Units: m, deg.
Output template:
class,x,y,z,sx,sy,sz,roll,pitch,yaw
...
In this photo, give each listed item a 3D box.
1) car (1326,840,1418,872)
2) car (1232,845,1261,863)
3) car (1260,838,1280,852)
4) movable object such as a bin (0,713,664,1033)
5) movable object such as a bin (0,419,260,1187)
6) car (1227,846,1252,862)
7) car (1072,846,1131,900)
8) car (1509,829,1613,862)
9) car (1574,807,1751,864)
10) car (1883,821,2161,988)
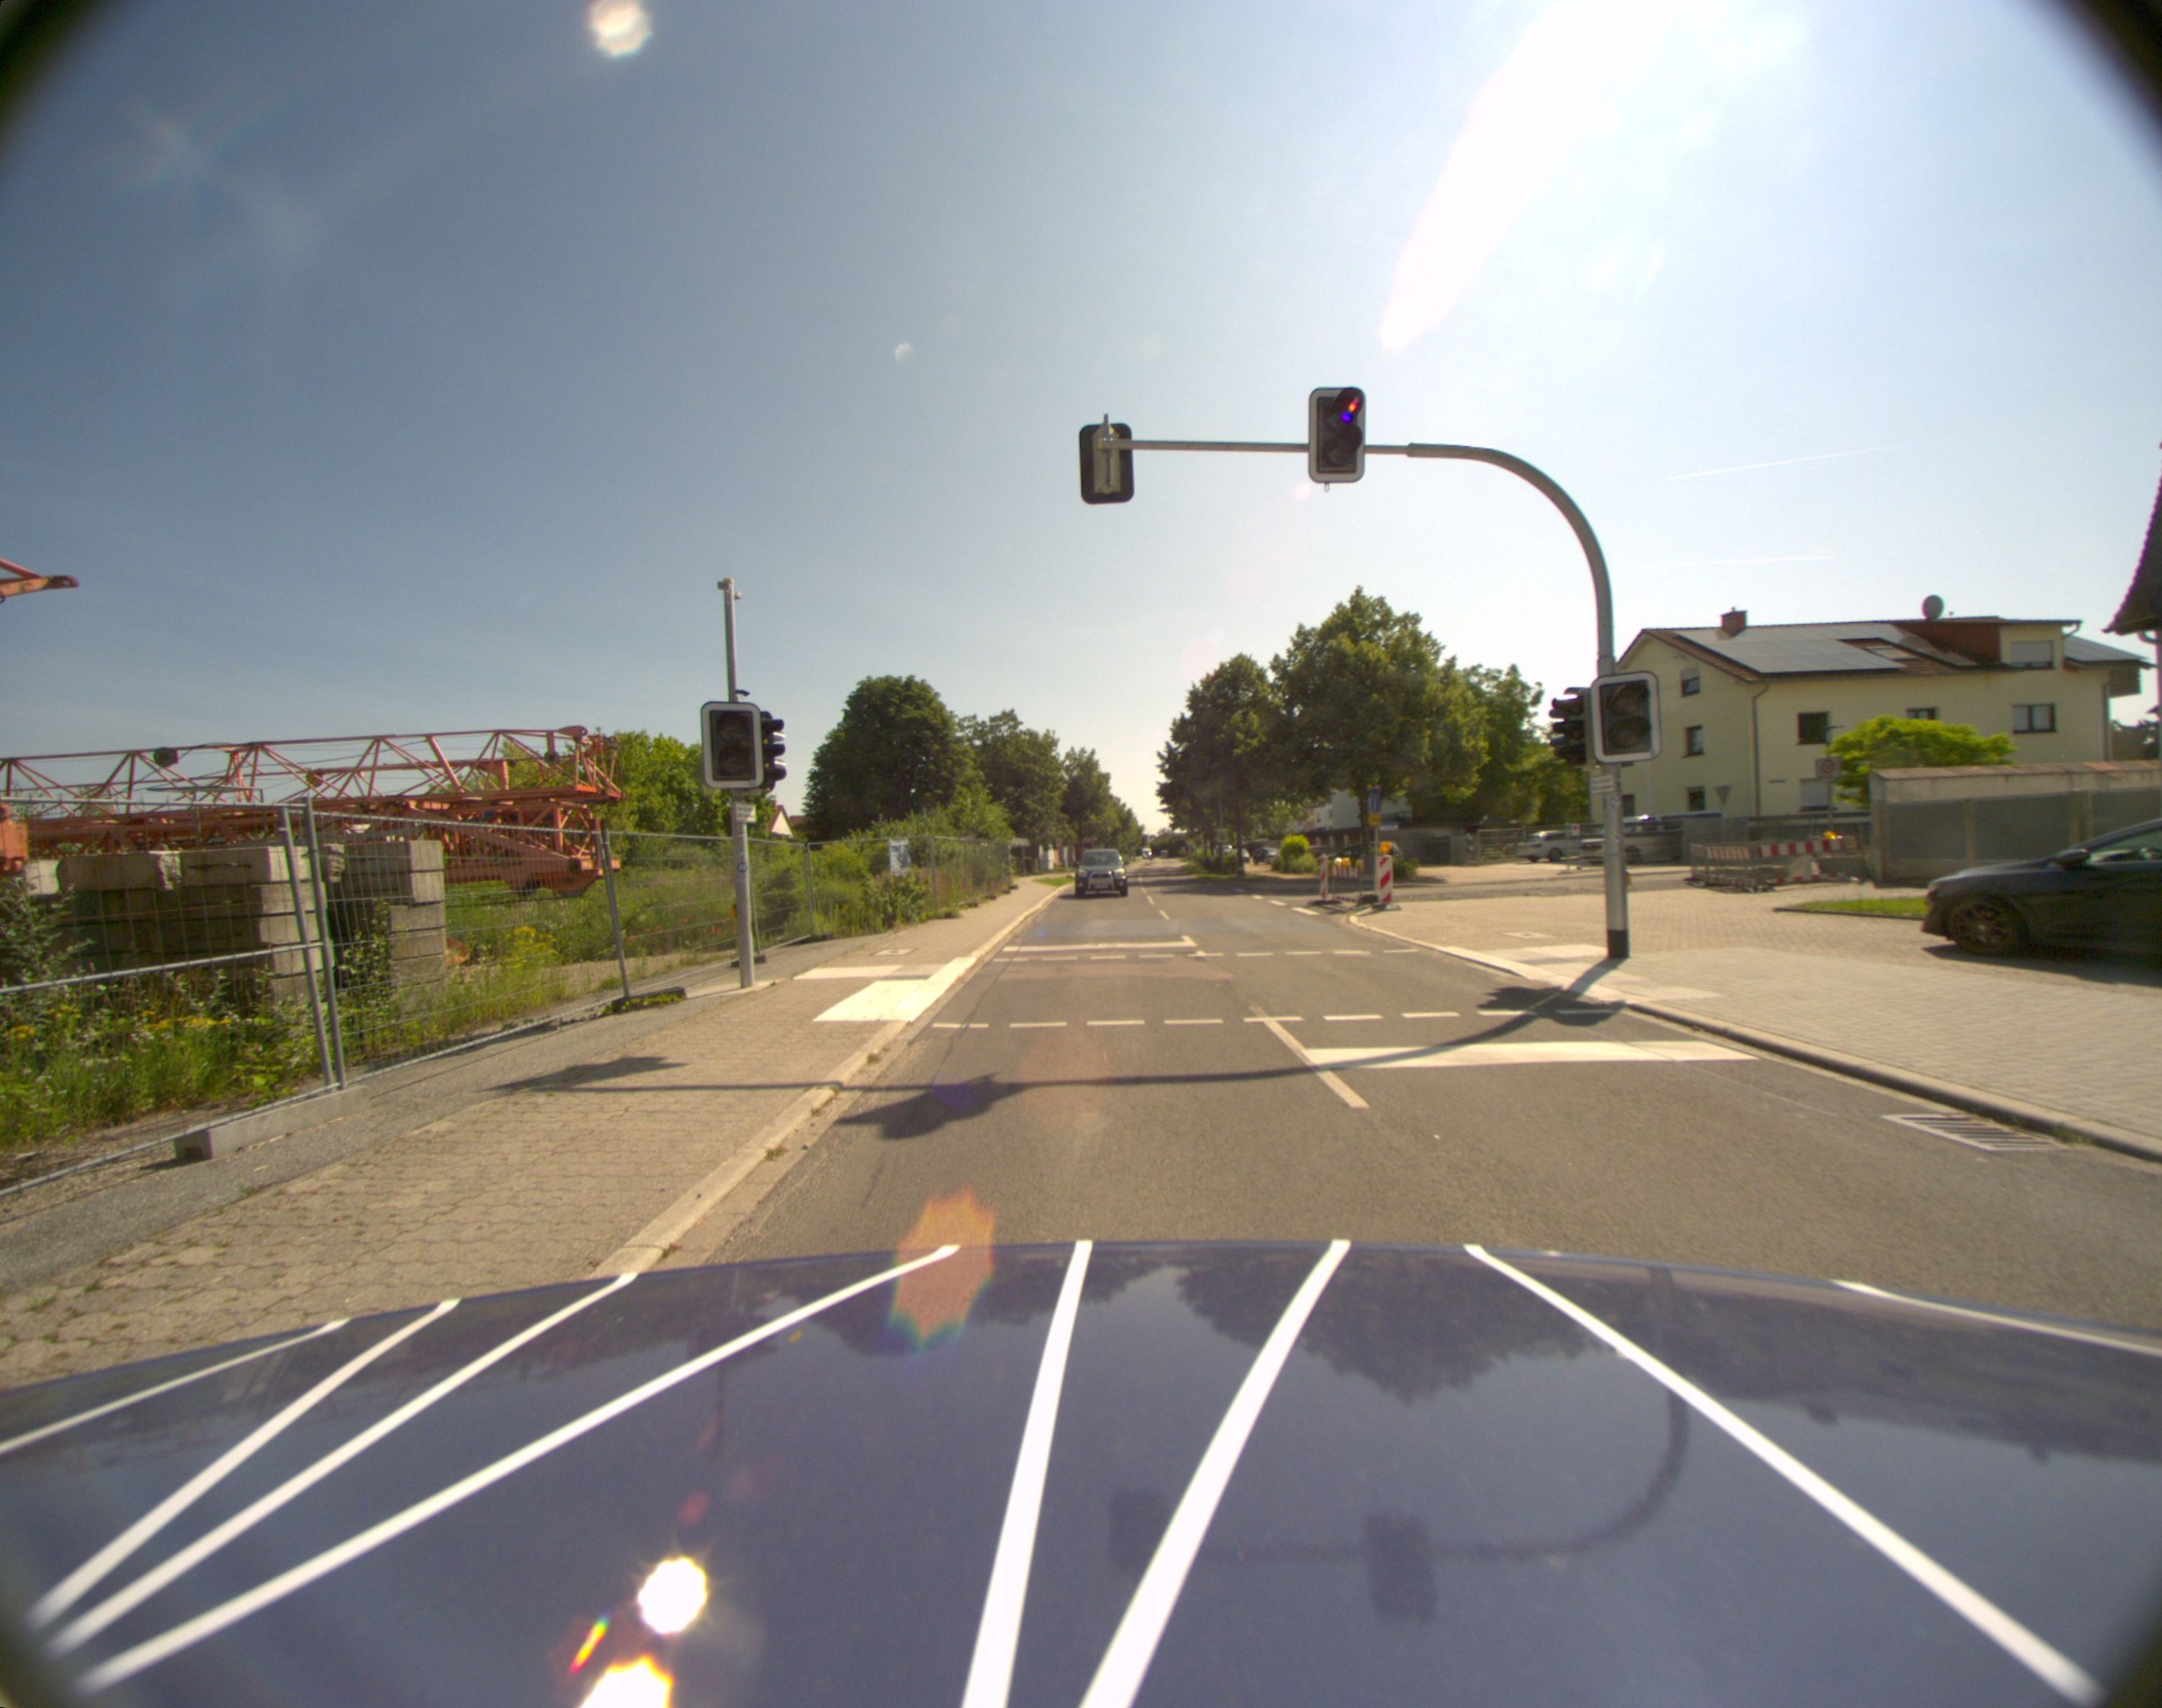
class,x,y,z,sx,sy,sz,roll,pitch,yaw
car,14.747,0.098,38.544,3.989,1.496,2.004,-2,0,33
car,15.288,-0.019,70.339,1.998,1.496,4.001,-2,0,3
car,27.851,-1.292,112.035,1.998,2.002,4.000,-2,0,1
movable object such as a bin,-14.064,0.324,11.731,13.290,4.141,2.862,-2,1,-3
movable object such as a bin,-13.637,-0.012,3.362,16.096,3.995,2.773,-2,1,-3
car,16.497,-0.030,79.154,1.998,1.496,4.001,-2,0,3
car,0.685,0.642,27.211,1.849,1.686,4.398,-3,-1,0
car,24.377,-0.429,38.699,3.997,1.496,2.000,-2,0,0
car,23.269,-0.724,30.553,5.624,2.033,1.999,-2,1,-2
car,10.006,0.414,6.487,1.719,1.399,4.397,-1,2,1
